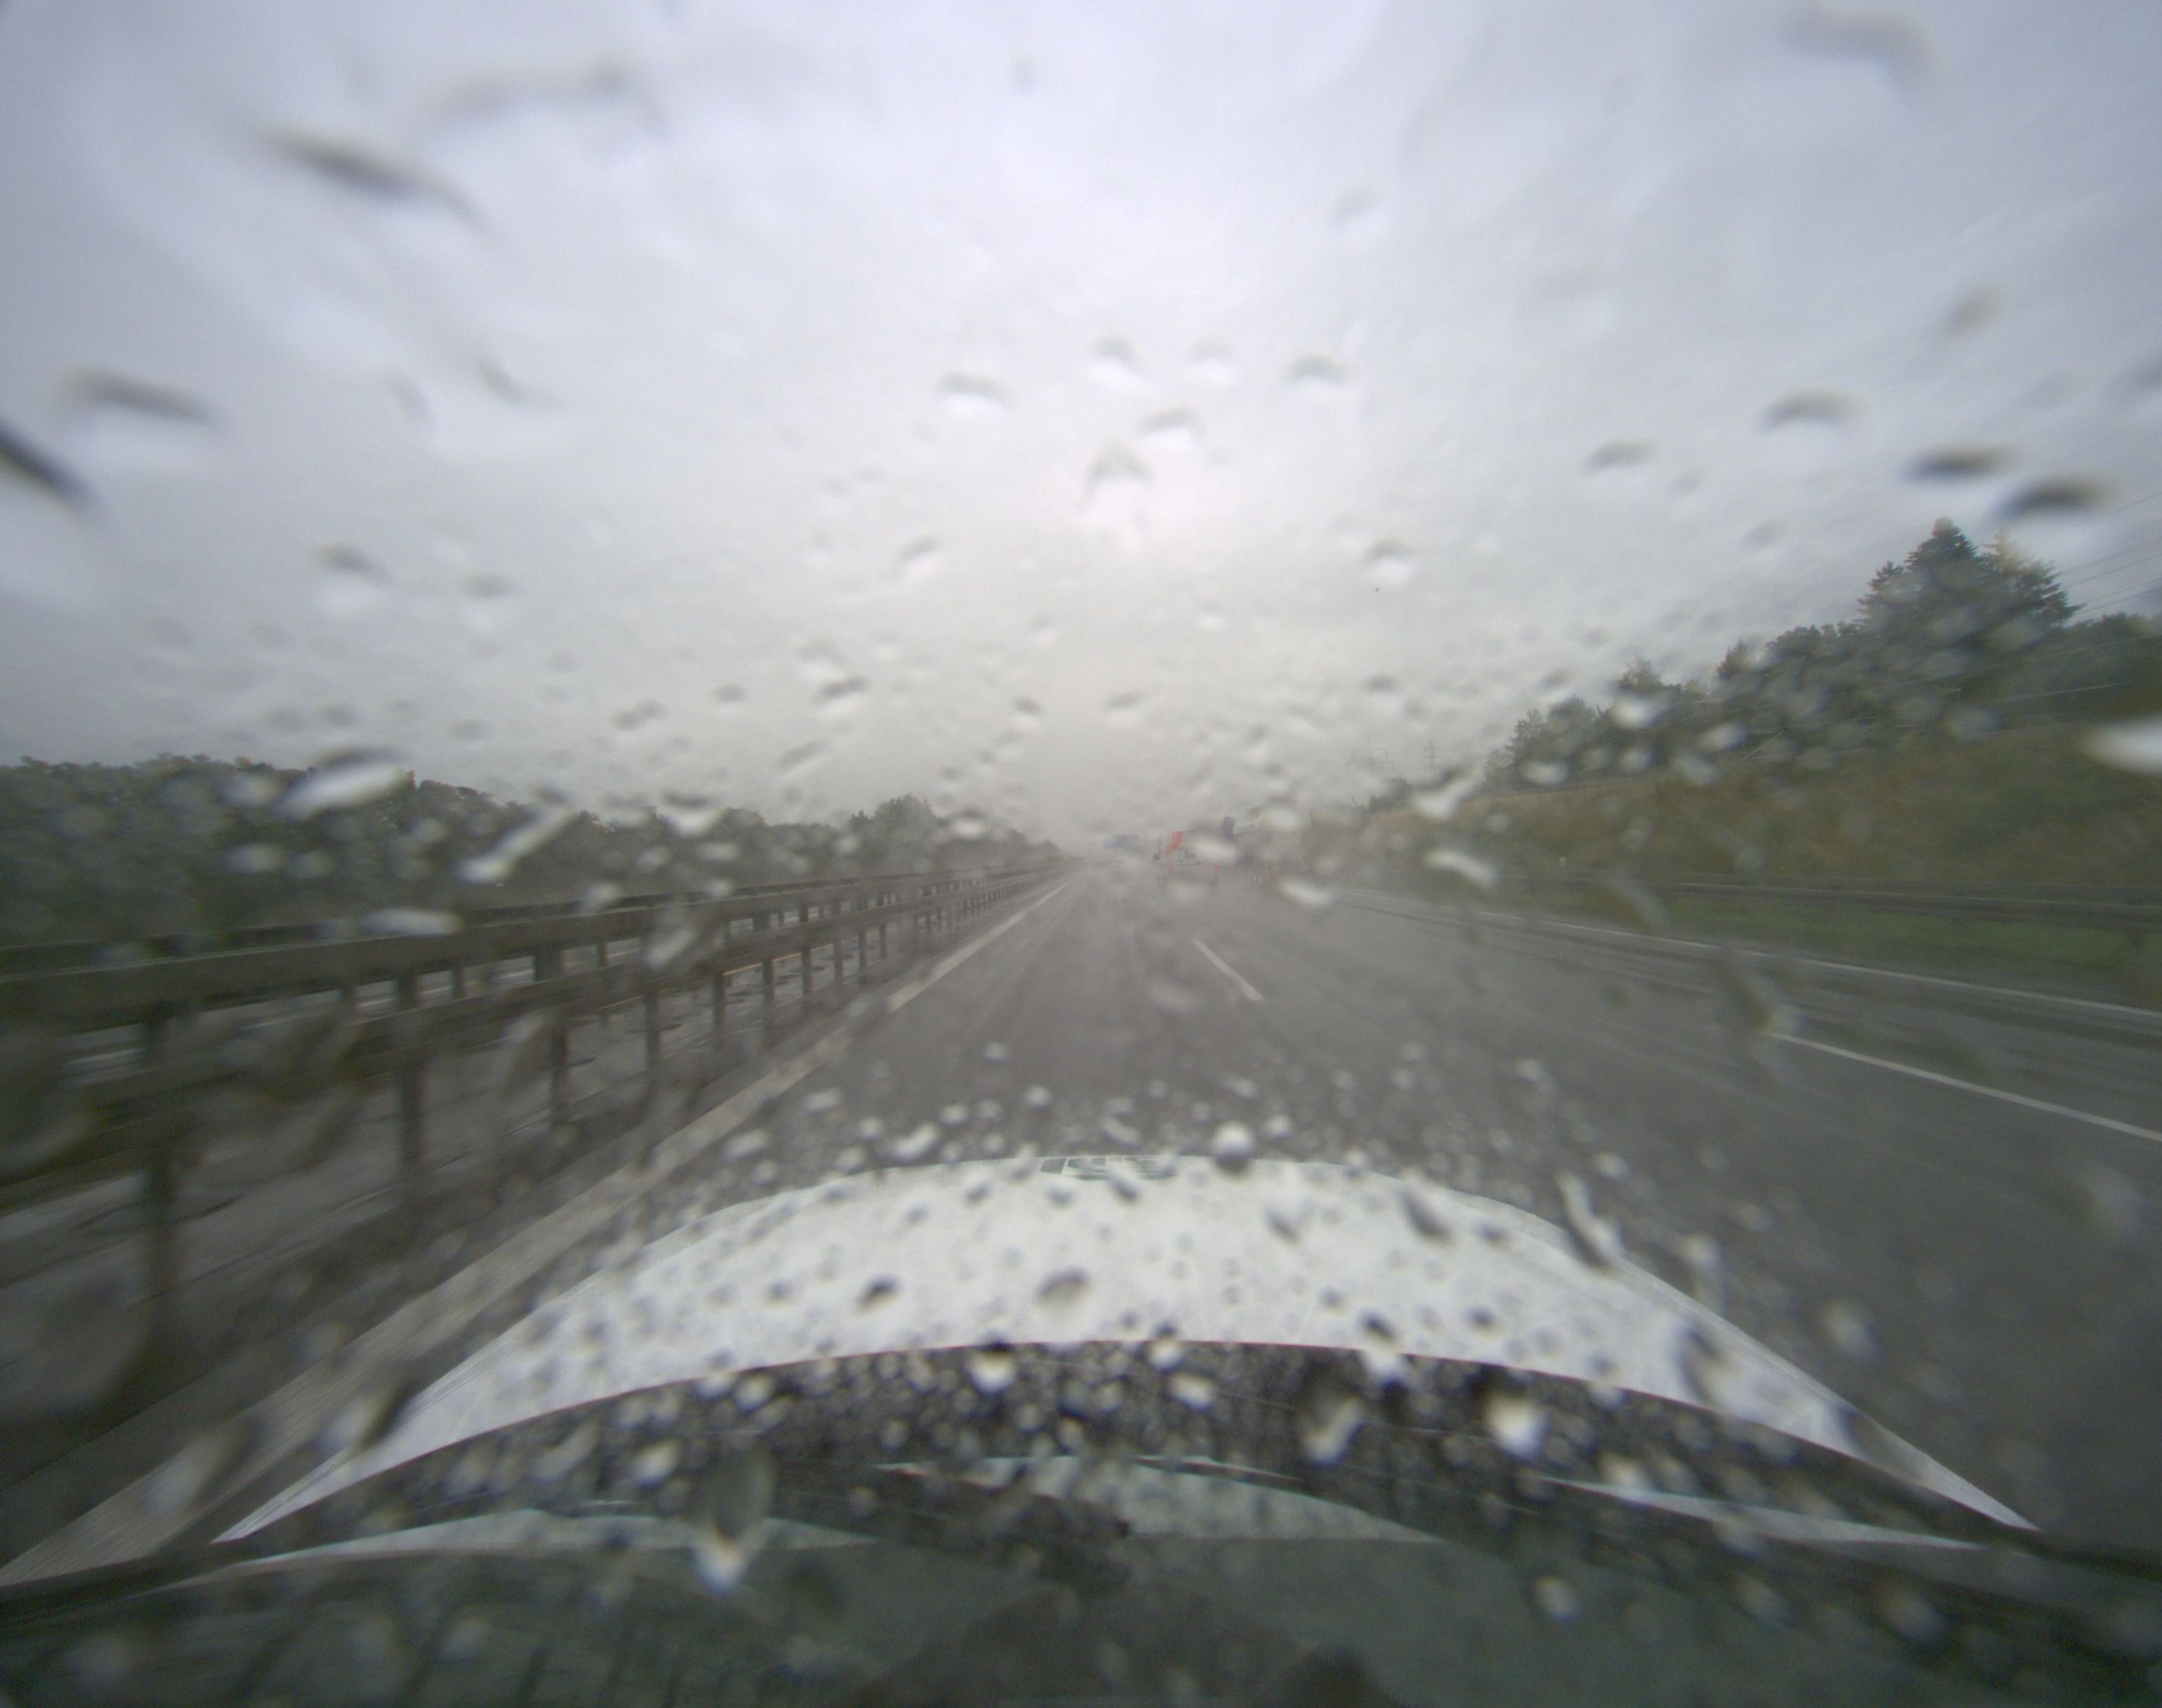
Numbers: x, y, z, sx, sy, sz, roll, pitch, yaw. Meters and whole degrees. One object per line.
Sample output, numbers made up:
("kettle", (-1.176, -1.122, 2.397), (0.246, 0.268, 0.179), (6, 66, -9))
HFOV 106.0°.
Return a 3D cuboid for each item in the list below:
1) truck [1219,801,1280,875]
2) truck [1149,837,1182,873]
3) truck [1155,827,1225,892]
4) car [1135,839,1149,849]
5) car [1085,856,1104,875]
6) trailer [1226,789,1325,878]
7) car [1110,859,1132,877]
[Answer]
("truck", (9.507, -0.865, 46.492), (2.488, 3.983, 5.076), (0, 0, 1))
("truck", (11.372, 0.315, 111.694), (3.029, 4.588, 16.350), (0, -1, 1))
("truck", (4.445, 0.219, 34.123), (2.410, 2.492, 5.562), (0, 0, 2))
("car", (12.796, -2.160, 171.929), (2.778, 2.013, 4.994), (0, 0, 1))
("car", (1.299, 1.085, 78.675), (1.695, 1.818, 3.863), (0, 0, 2))
("trailer", (9.436, -0.880, 40.970), (2.488, 3.882, 11.067), (0, 0, 1))
("car", (3.106, 1.106, 63.550), (1.600, 1.338, 3.849), (0, 0, 1))
